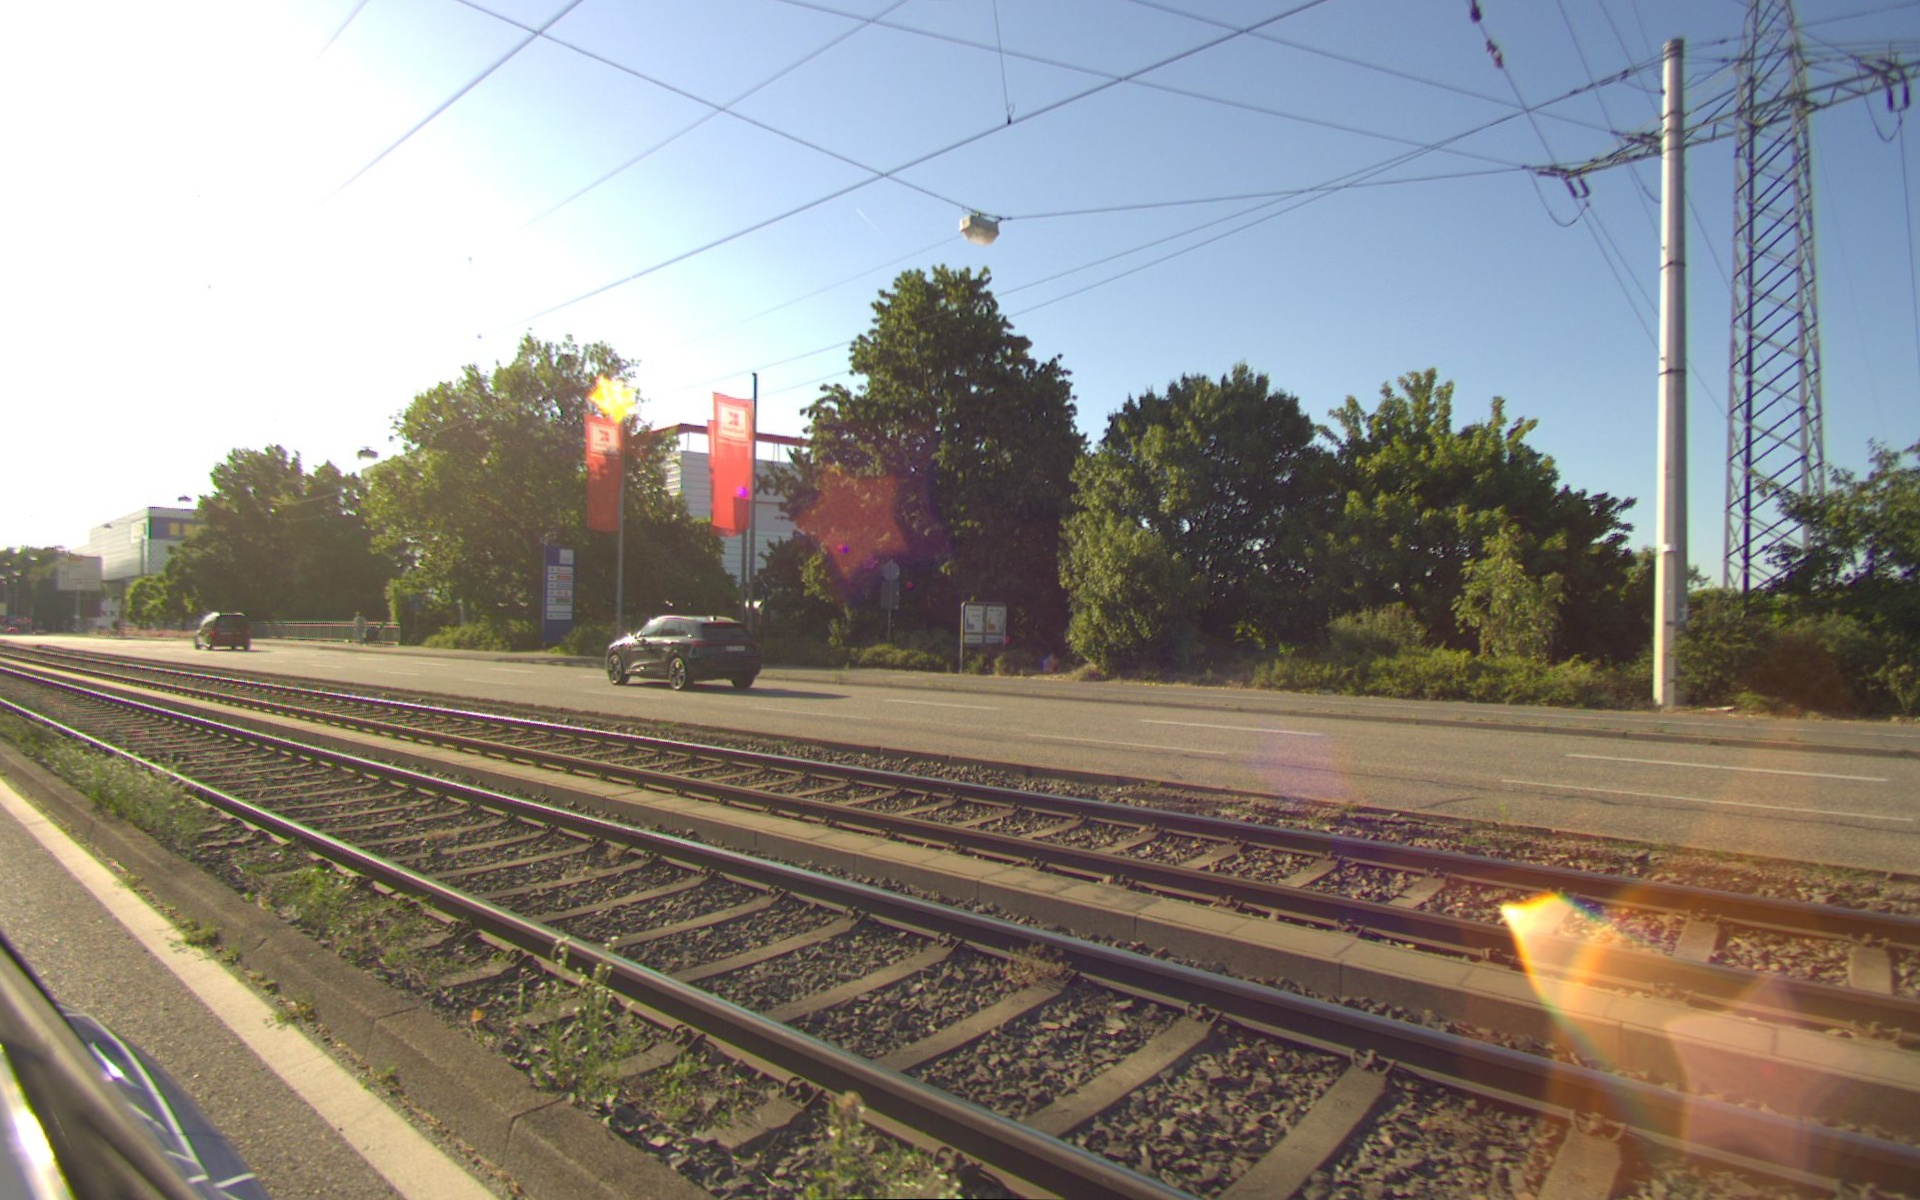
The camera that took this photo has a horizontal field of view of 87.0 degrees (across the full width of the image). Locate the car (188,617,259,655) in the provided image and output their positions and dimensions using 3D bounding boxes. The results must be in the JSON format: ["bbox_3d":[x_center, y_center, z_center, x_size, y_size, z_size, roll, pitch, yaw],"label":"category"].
[{"bbox_3d":[-37.479,1.811,51.460,4.348,1.809,1.972,0,-2,42],"label":"car"}]

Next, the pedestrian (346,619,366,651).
[{"bbox_3d":[-32.352,1.886,54.200,1.083,1.660,0.606,-1,1,41],"label":"pedestrian"}]

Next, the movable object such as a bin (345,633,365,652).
[{"bbox_3d":[-32.554,2.261,54.447,1.083,0.973,0.606,-1,1,41],"label":"movable object such as a bin"}]

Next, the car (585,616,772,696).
[{"bbox_3d":[-6.591,1.223,23.424,4.683,1.637,1.972,0,-2,43],"label":"car"}]
